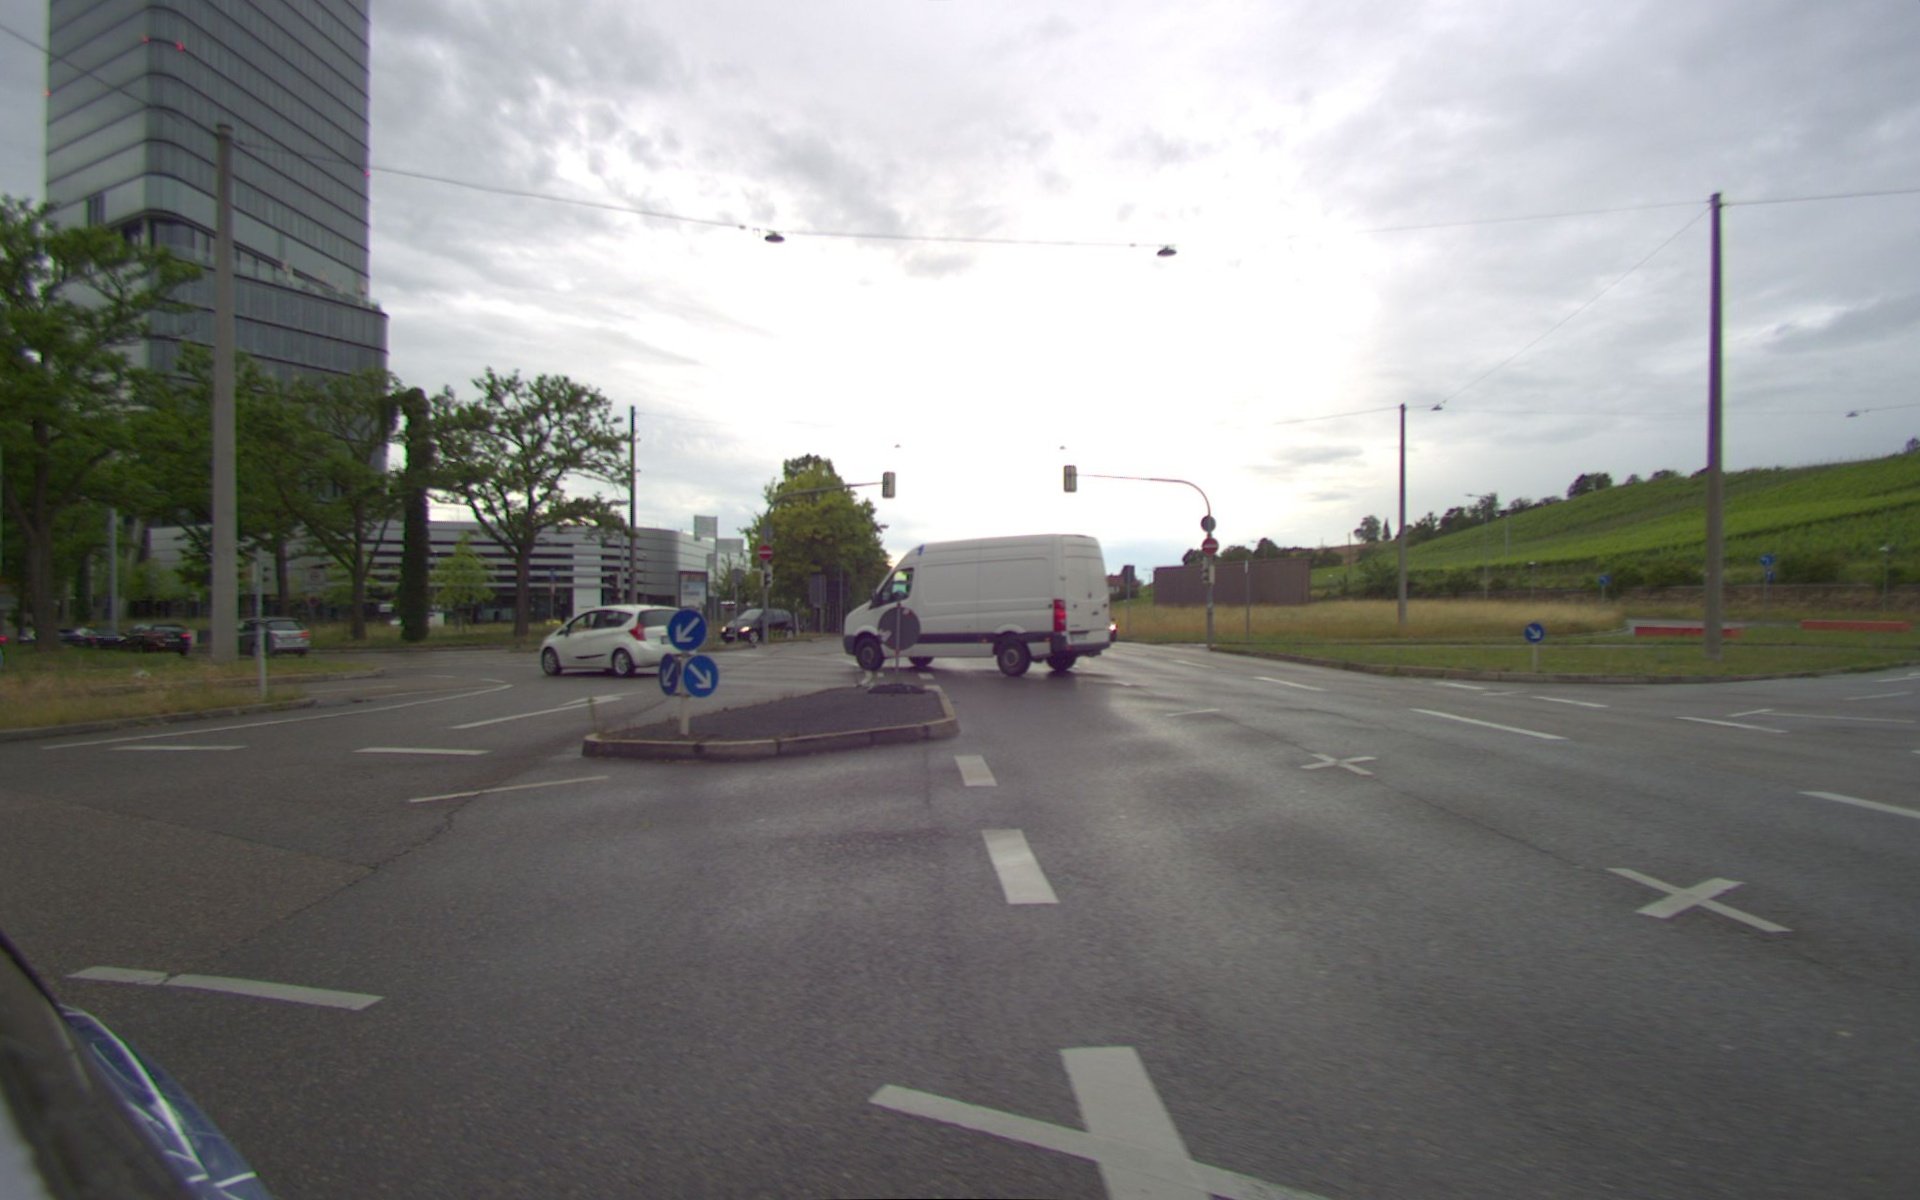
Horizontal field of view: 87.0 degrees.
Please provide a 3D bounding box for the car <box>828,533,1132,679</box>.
[{"bbox_3d":[0.248,0.086,20.456,6.160,2.578,1.975,1,0,37],"label":"car"}]

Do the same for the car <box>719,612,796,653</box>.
[{"bbox_3d":[-9.556,1.506,48.037,1.982,1.674,3.980,-1,1,16],"label":"car"}]

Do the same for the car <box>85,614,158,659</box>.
[{"bbox_3d":[-46.609,2.077,56.239,4.554,1.636,1.814,-11,-15,33],"label":"car"}]

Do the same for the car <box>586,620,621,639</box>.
[{"bbox_3d":[-26.810,2.219,76.046,1.593,1.254,4.011,-2,1,-32],"label":"car"}]

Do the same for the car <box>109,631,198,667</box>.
[{"bbox_3d":[-35.919,2.173,45.019,4.656,1.484,1.809,-2,-1,34],"label":"car"}]

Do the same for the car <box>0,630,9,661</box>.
[{"bbox_3d":[-48.731,2.256,49.735,4.879,1.500,1.885,-2,-1,34],"label":"car"}]

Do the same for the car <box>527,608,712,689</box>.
[{"bbox_3d":[-7.403,0.980,21.910,3.990,1.524,1.736,0,1,35],"label":"car"}]

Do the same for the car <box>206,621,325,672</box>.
[{"bbox_3d":[-26.153,1.720,38.093,4.179,1.586,1.981,-1,5,31],"label":"car"}]

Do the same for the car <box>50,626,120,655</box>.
[{"bbox_3d":[-44.831,2.034,51.842,3.994,1.397,1.975,-1,-1,38],"label":"car"}]
